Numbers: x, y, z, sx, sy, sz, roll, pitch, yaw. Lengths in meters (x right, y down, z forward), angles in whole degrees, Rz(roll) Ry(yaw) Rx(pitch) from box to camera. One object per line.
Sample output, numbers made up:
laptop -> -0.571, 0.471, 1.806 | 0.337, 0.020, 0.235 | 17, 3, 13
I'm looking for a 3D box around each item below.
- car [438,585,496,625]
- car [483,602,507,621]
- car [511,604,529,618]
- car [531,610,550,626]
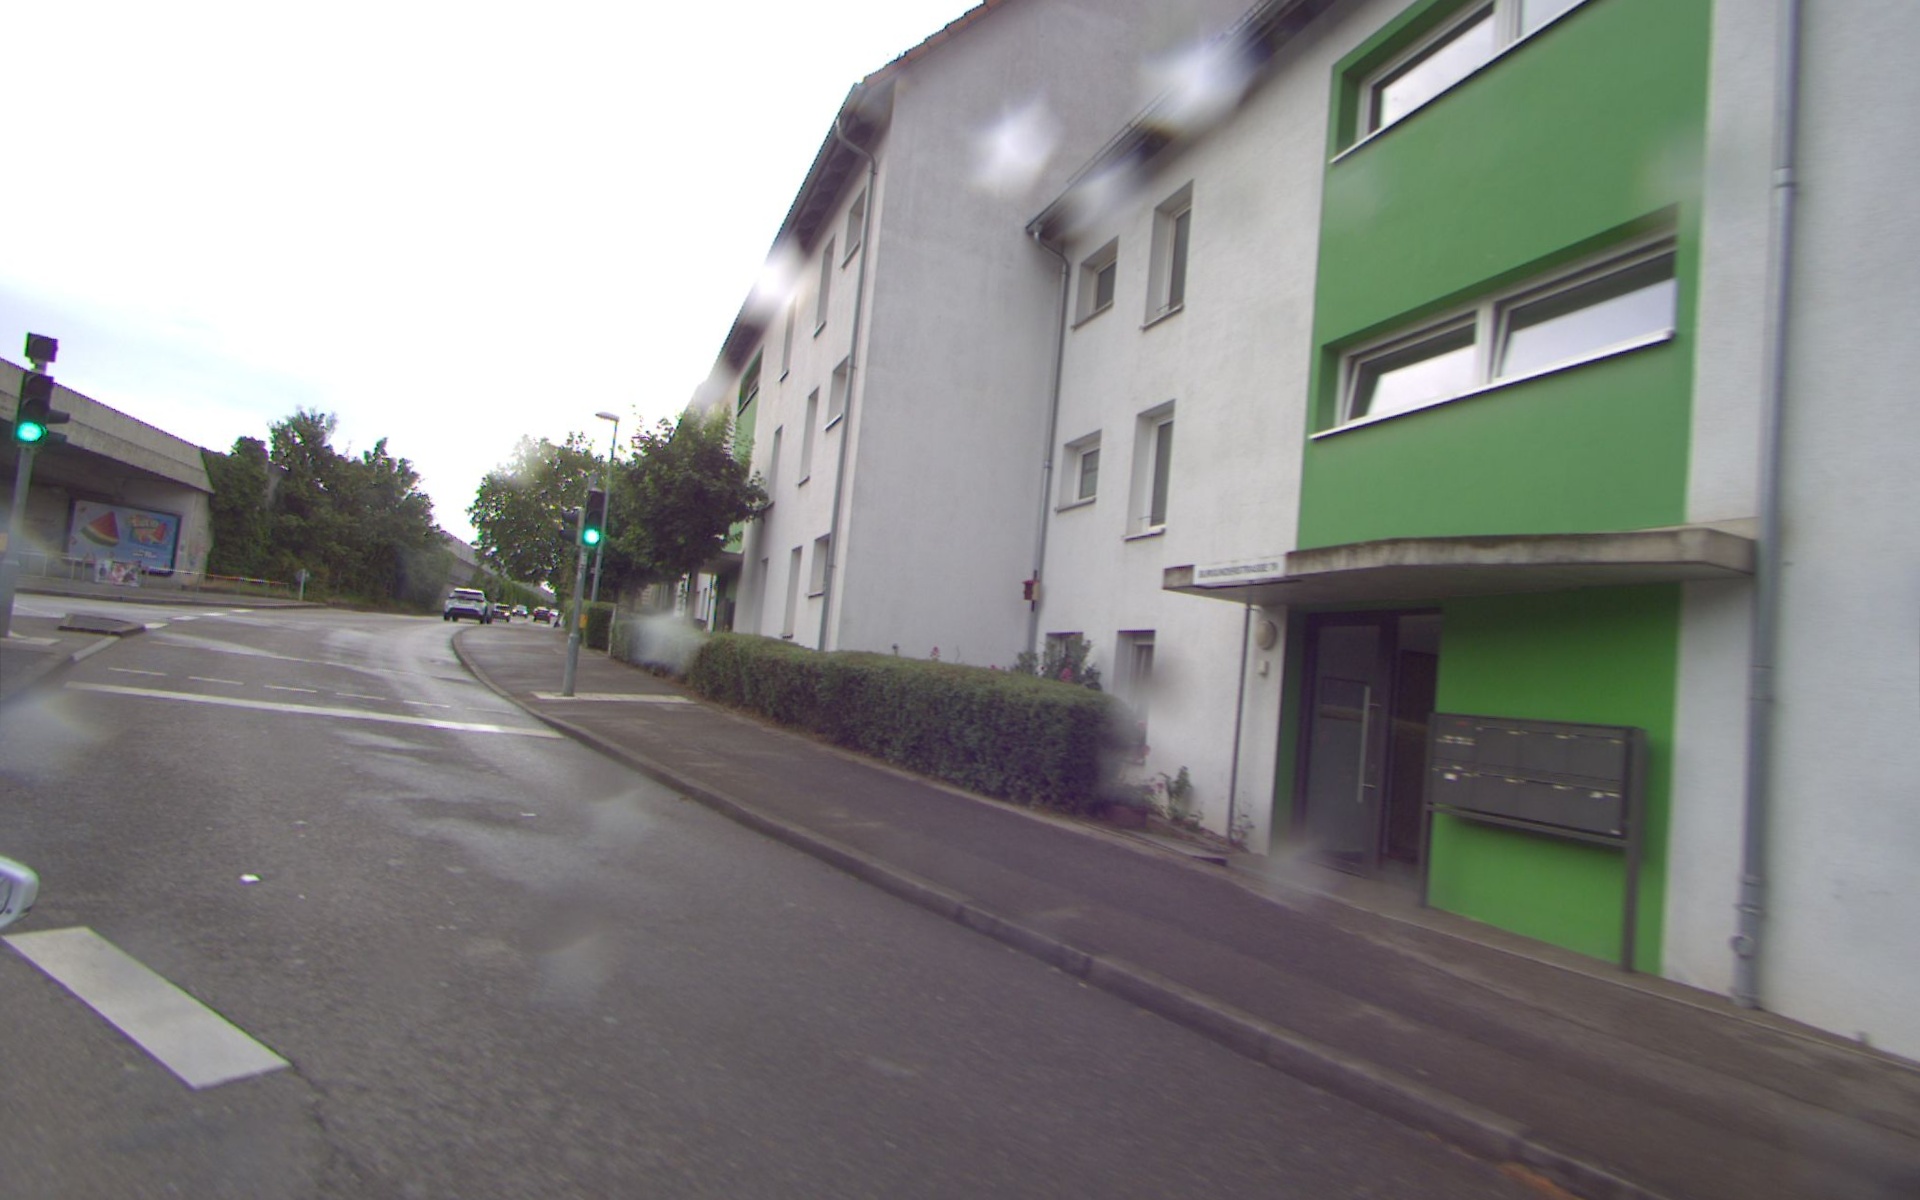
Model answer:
car -> -23.115, 0.251, 47.311 | 1.856, 1.546, 3.985 | 9, -3, -20
car -> -43.588, 1.118, 94.212 | 1.748, 1.598, 4.209 | 6, -3, -28
car -> -57.222, 1.440, 130.770 | 1.857, 1.547, 3.982 | 9, -3, -22
car -> -49.051, 2.064, 117.550 | 1.857, 1.547, 3.982 | 9, -3, -22
